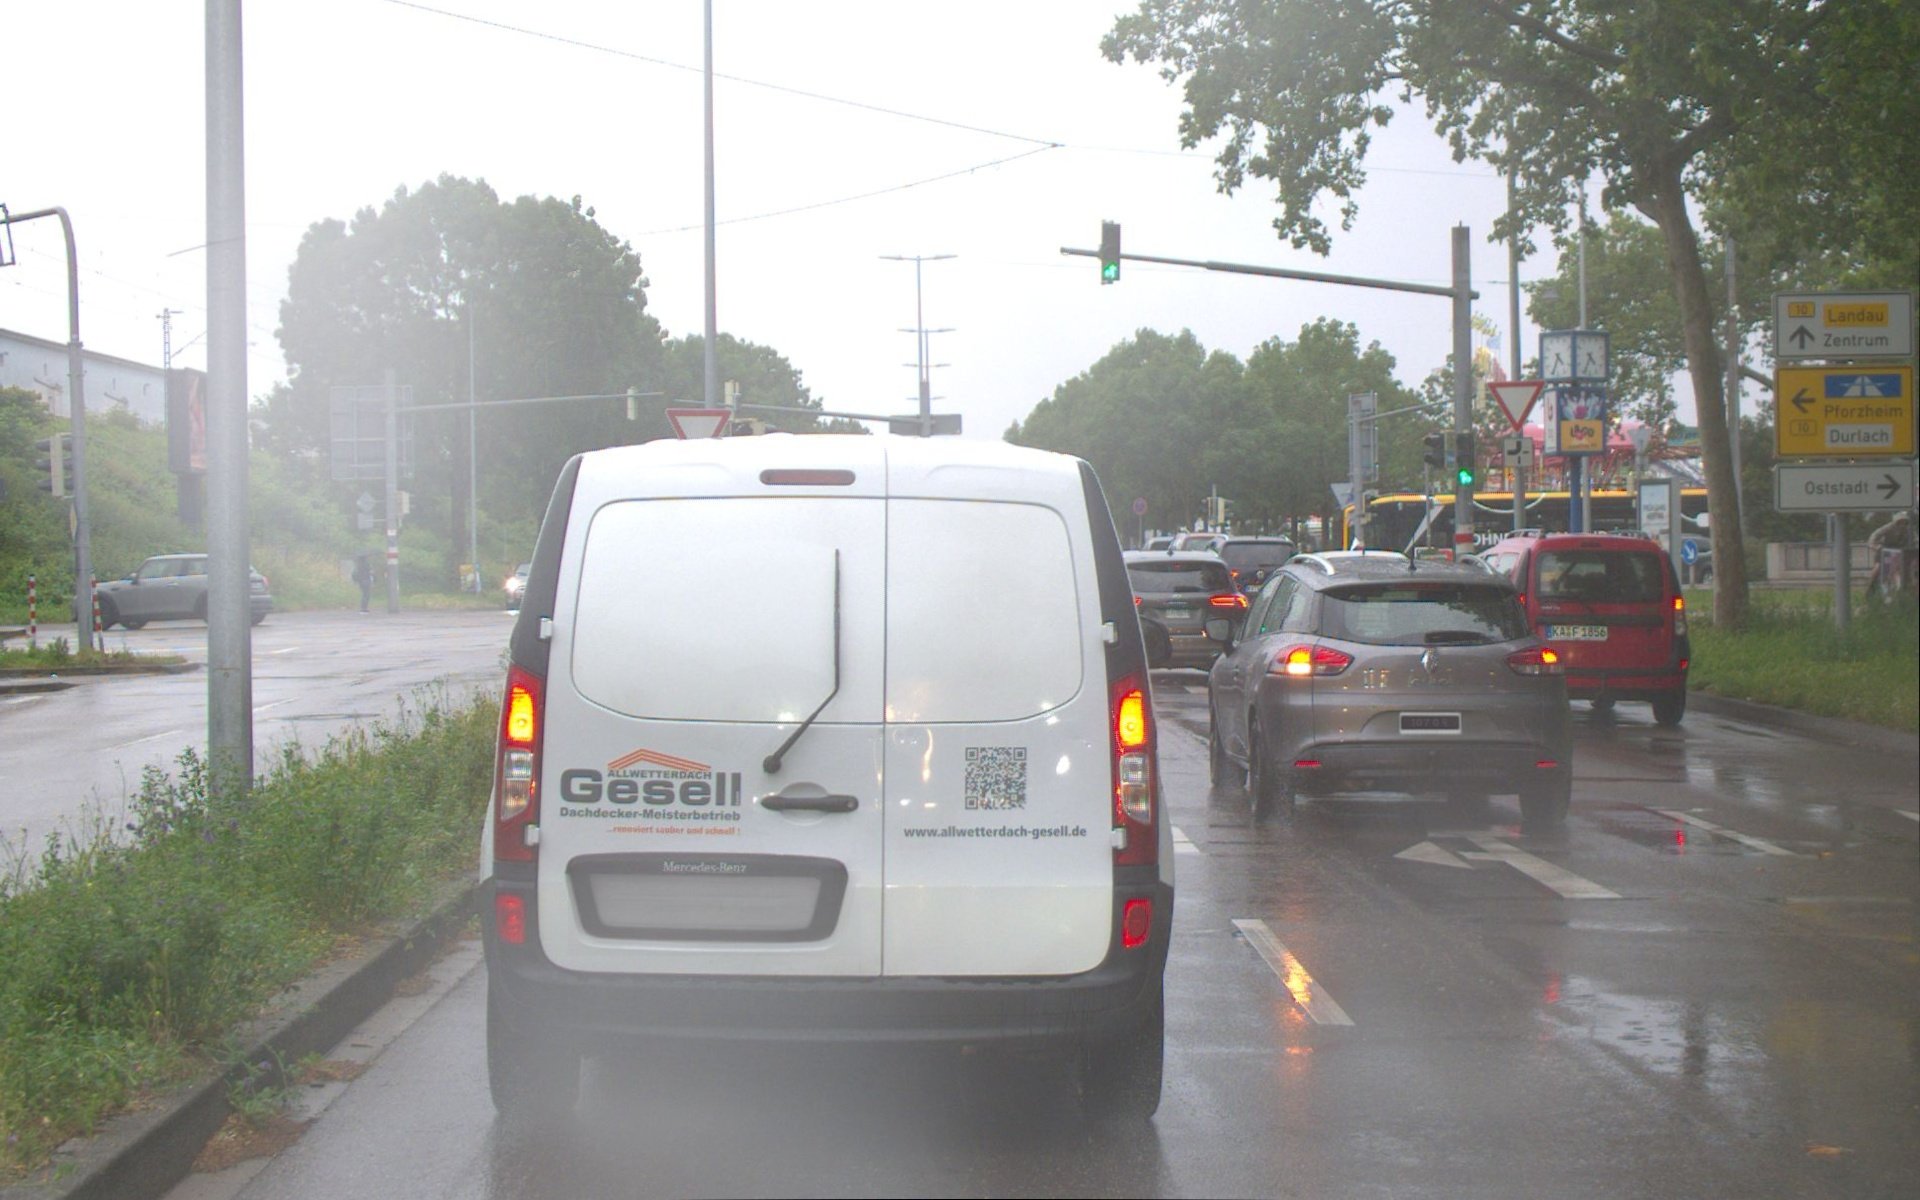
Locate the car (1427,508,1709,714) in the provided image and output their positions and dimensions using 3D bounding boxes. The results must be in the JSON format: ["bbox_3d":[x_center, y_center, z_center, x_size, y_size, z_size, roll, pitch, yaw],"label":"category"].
[{"bbox_3d":[5.365,0.079,30.824,1.710,1.688,4.272,1,0,0],"label":"car"}]

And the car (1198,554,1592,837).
[{"bbox_3d":[2.389,0.469,19.751,1.683,1.403,3.843,1,1,-1],"label":"car"}]

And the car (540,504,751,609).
[{"bbox_3d":[-5.701,-0.800,61.940,1.994,1.809,3.999,-2,2,-36],"label":"car"}]

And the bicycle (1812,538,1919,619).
[{"bbox_3d":[13.959,-0.335,51.944,0.620,1.182,3.366,1,1,41],"label":"bicycle"}]

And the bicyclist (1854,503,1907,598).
[{"bbox_3d":[13.891,-0.745,51.864,0.620,1.414,0.470,1,1,41],"label":"bicyclist"}]

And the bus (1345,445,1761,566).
[{"bbox_3d":[17.632,-2.821,102.574,11.970,3.411,2.315,-1,2,0],"label":"bus"}]

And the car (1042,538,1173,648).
[{"bbox_3d":[2.275,-0.147,53.929,1.854,1.644,3.843,0,1,0],"label":"car"}]

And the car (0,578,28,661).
[{"bbox_3d":[-21.665,0.453,71.862,3.986,1.711,2.000,-2,0,-22],"label":"car"}]

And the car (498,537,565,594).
[{"bbox_3d":[-12.228,-1.004,98.222,1.468,1.554,3.508,-1,2,-1],"label":"car"}]

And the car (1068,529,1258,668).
[{"bbox_3d":[2.199,-0.054,38.174,1.854,1.455,3.843,0,1,0],"label":"car"}]

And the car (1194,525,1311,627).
[{"bbox_3d":[5.115,-0.452,60.484,1.708,1.722,3.843,0,1,0],"label":"car"}]

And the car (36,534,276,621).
[{"bbox_3d":[-15.543,-0.451,66.581,4.178,1.645,1.799,0,1,4],"label":"car"}]

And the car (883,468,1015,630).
[{"bbox_3d":[-0.169,-0.763,50.648,1.854,2.288,3.843,0,1,0],"label":"car"}]

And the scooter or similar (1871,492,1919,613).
[{"bbox_3d":[21.085,-0.954,68.931,1.890,2.437,5.316,-1,1,-40],"label":"scooter or similar"}]

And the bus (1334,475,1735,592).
[{"bbox_3d":[17.758,-2.085,106.558,11.969,3.411,2.483,-1,2,-3],"label":"bus"}]

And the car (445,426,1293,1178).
[{"bbox_3d":[-0.229,0.426,10.386,1.993,1.770,4.585,0,1,0],"label":"car"}]
